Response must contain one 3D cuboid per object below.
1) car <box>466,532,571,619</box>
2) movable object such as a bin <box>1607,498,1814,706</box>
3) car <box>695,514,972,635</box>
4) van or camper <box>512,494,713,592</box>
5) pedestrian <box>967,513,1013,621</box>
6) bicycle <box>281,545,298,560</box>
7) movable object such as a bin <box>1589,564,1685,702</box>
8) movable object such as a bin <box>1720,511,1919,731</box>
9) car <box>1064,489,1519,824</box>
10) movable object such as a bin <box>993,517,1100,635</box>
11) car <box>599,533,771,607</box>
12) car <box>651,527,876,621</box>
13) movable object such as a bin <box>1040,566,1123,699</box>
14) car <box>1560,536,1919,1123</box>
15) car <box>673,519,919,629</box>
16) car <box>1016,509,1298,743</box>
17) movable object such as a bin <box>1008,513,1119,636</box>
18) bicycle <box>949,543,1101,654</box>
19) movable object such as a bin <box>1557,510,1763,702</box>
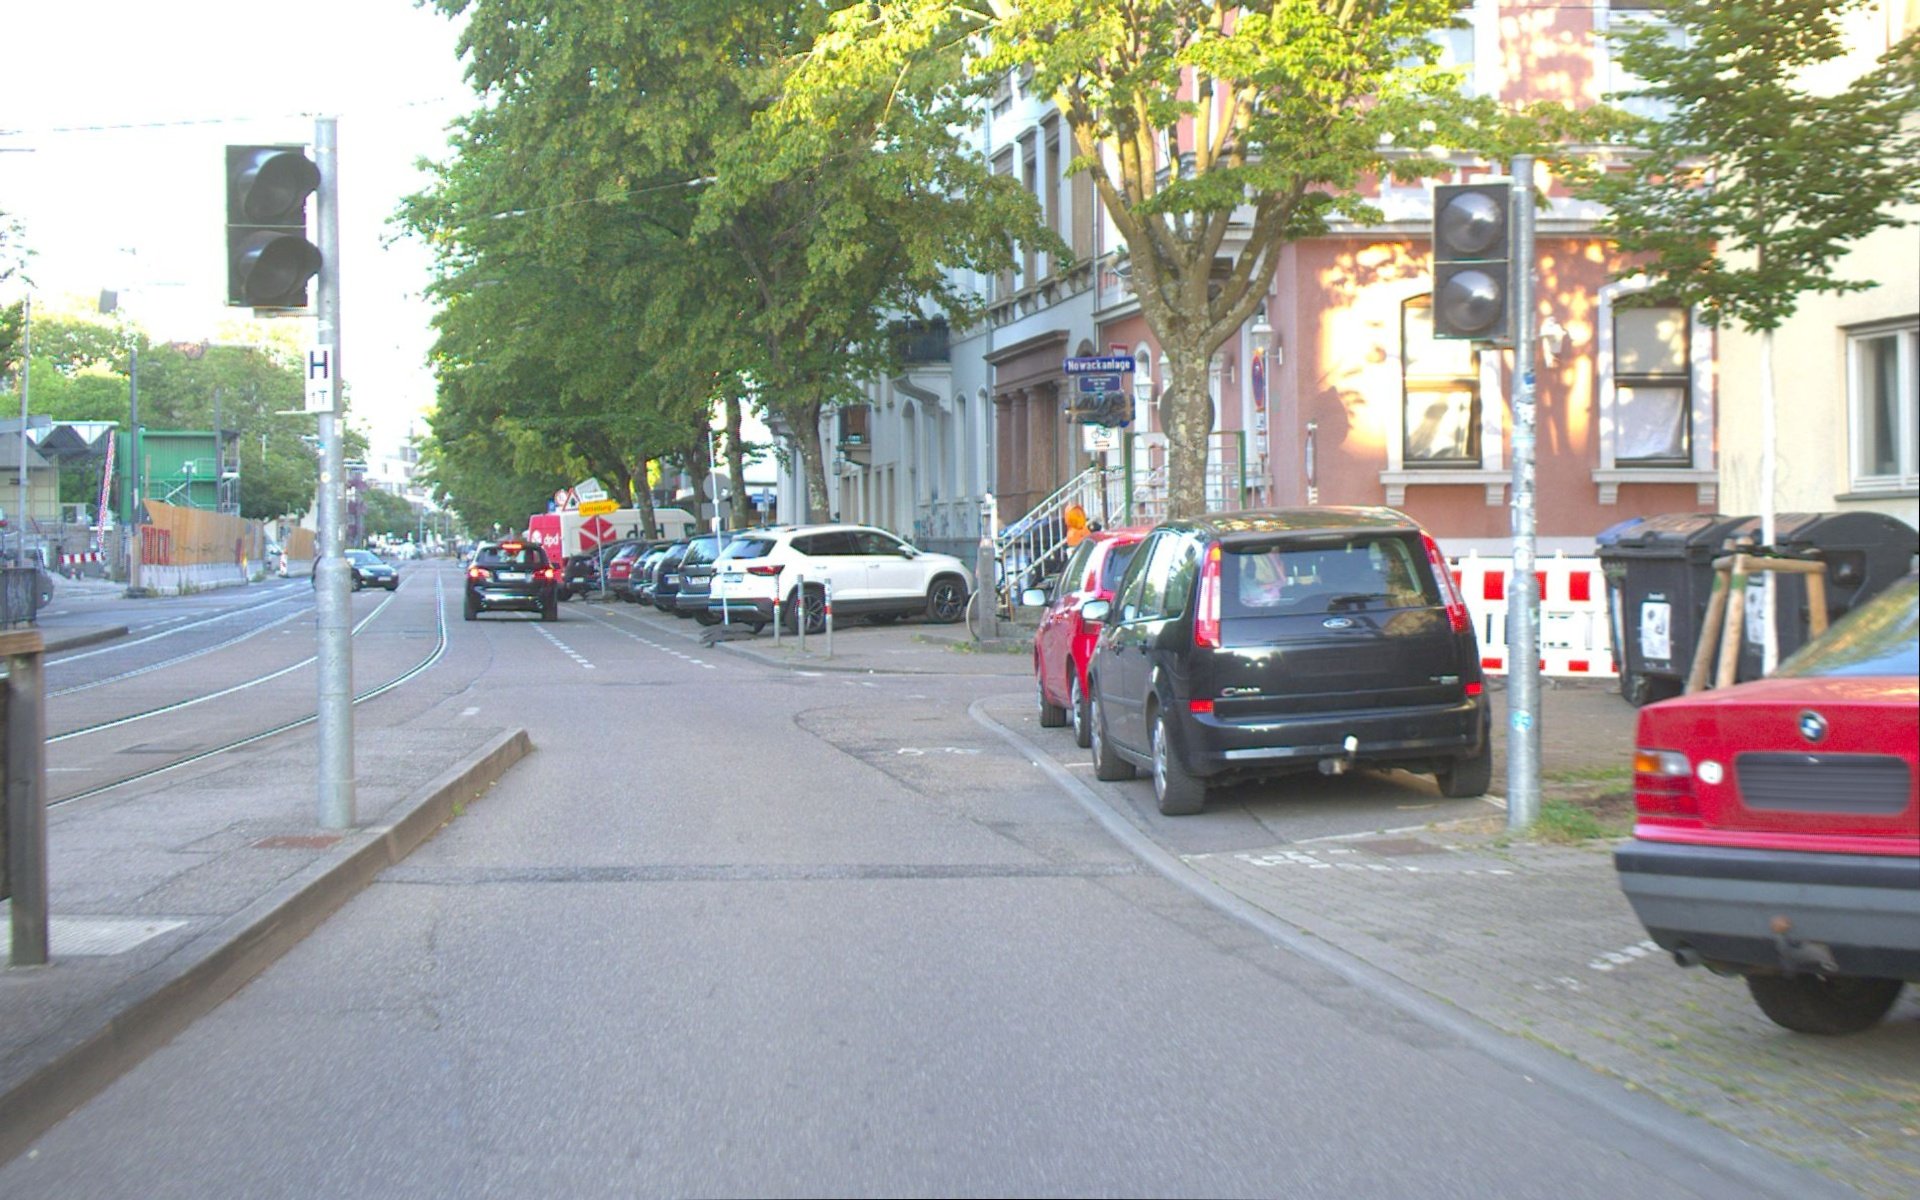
[{"bbox_3d":[-8.734,-0.496,67.845,1.881,1.614,4.001,2,0,-9],"label":"car"},{"bbox_3d":[5.547,-0.001,25.493,1.072,1.497,1.319,0,1,-10],"label":"movable object such as a bin"},{"bbox_3d":[-1.898,-0.404,52.399,3.943,1.621,1.673,-4,3,-39],"label":"car"},{"bbox_3d":[-10.088,-1.679,100.160,5.535,2.522,2.085,-5,2,-43],"label":"van or camper"},{"bbox_3d":[0.445,-0.501,51.322,0.586,1.604,0.625,0,1,-8],"label":"pedestrian"},{"bbox_3d":[-38.898,-2.773,199.460,0.947,0.846,2.698,0,1,-11],"label":"bicycle"},{"bbox_3d":[5.209,0.250,26.473,0.553,1.044,0.571,0,1,-10],"label":"movable object such as a bin"},{"bbox_3d":[6.115,0.128,24.134,1.140,1.497,1.271,0,1,-9],"label":"movable object such as a bin"},{"bbox_3d":[1.750,0.250,19.467,1.743,1.626,4.089,-2,1,-6],"label":"car"},{"bbox_3d":[1.103,-0.316,44.088,1.140,1.497,1.399,0,1,-9],"label":"movable object such as a bin"},{"bbox_3d":[-7.076,-0.787,88.643,3.943,1.598,1.840,-5,2,-35],"label":"car"},{"bbox_3d":[-3.759,-0.513,66.188,3.944,1.598,1.840,-3,1,-40],"label":"car"},{"bbox_3d":[1.069,0.278,30.197,0.712,1.149,0.588,0,1,4],"label":"movable object such as a bin"},{"bbox_3d":[3.840,0.536,10.034,4.197,1.449,1.645,-1,1,-35],"label":"car"},{"bbox_3d":[-2.826,-0.460,59.809,1.900,1.663,3.945,-2,2,45],"label":"car"},{"bbox_3d":[1.374,0.145,25.252,1.564,1.531,3.693,-2,1,-4],"label":"car"},{"bbox_3d":[1.275,-0.329,42.607,1.140,1.497,1.399,0,1,-9],"label":"movable object such as a bin"},{"bbox_3d":[0.783,-0.028,40.900,1.913,1.262,0.601,-2,1,-43],"label":"bicycle"},{"bbox_3d":[5.618,0.029,27.699,1.140,1.497,1.598,0,1,-9],"label":"movable object such as a bin"}]
